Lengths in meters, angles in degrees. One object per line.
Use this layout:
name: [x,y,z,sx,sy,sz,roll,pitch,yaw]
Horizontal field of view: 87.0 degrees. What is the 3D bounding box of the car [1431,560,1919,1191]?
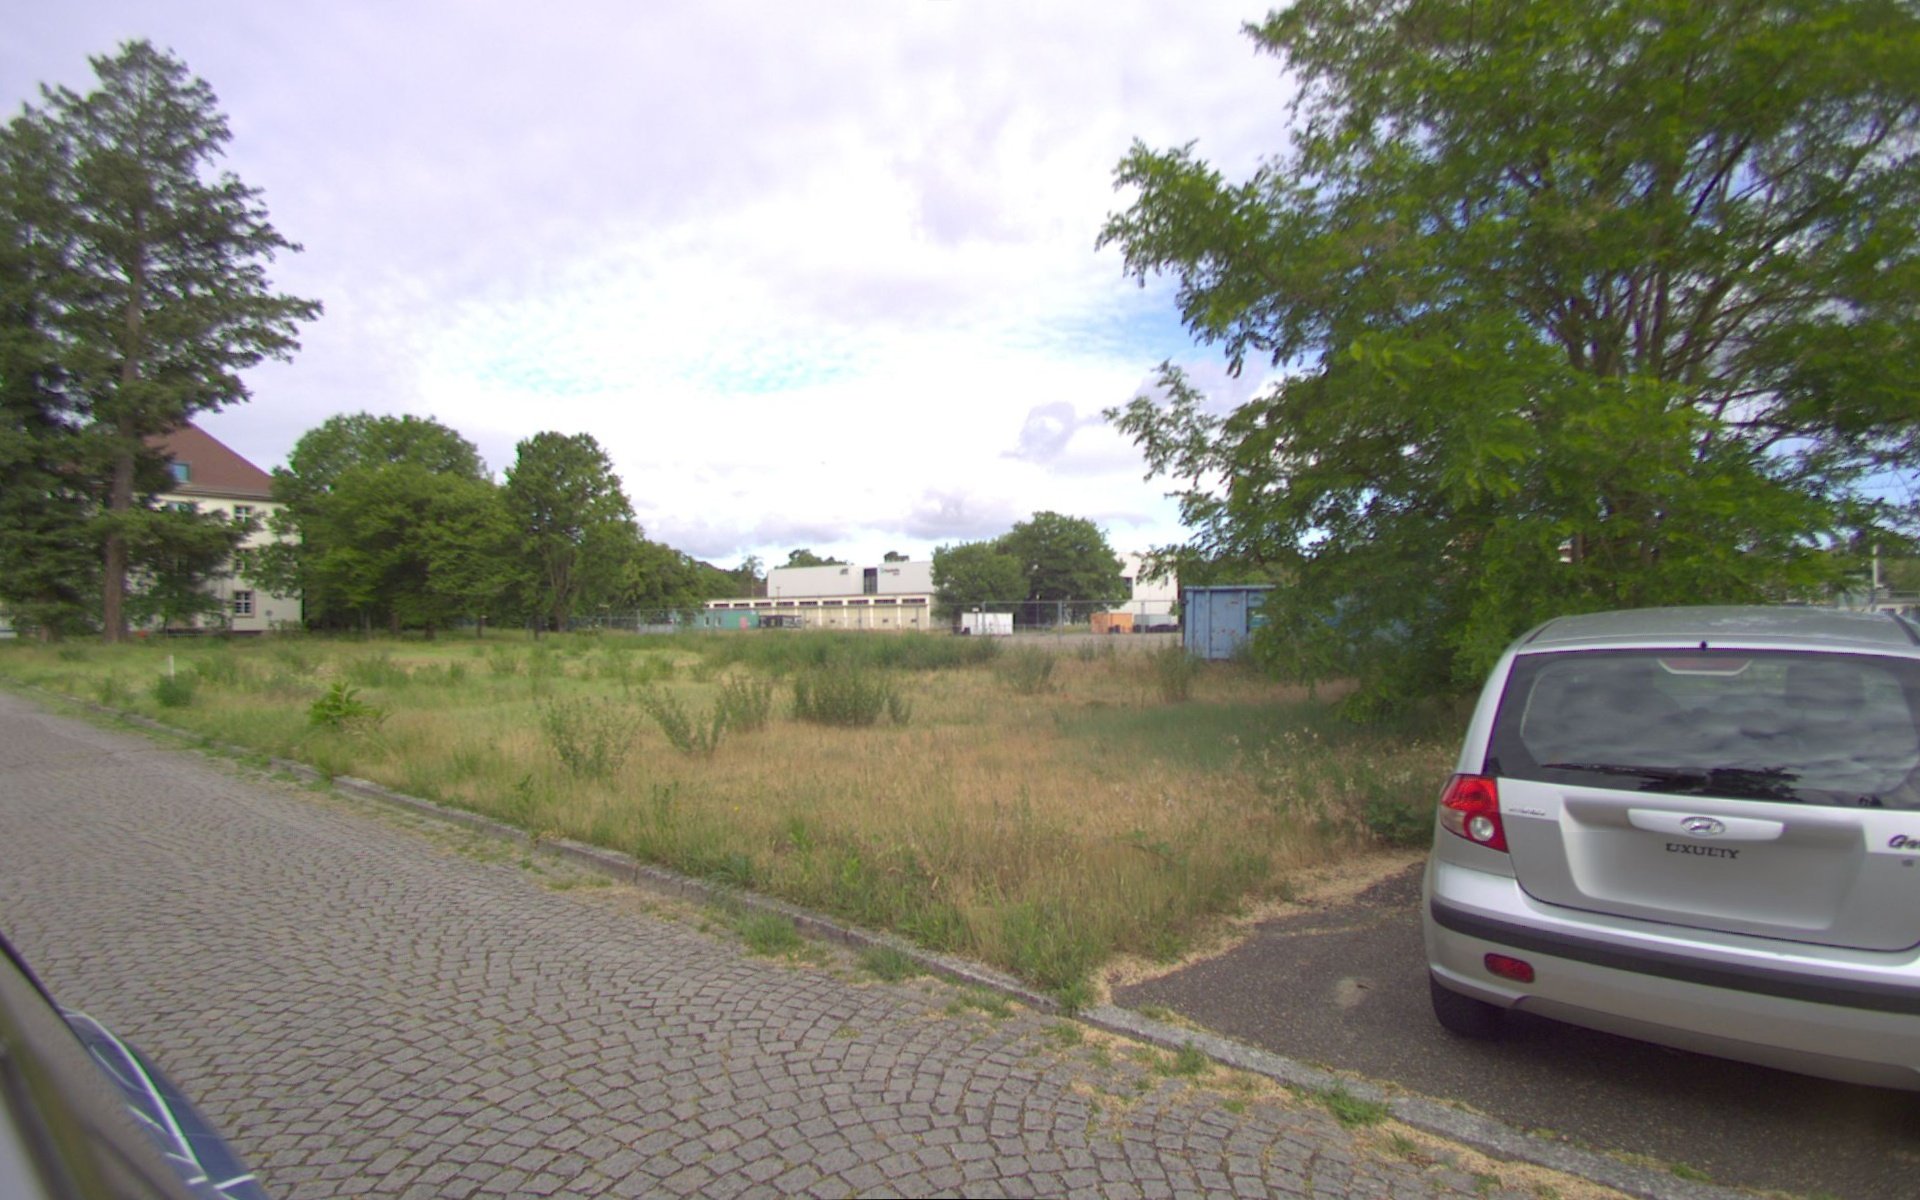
car: [3.210,0.623,4.053,1.580,1.490,3.668,-2,1,38]
